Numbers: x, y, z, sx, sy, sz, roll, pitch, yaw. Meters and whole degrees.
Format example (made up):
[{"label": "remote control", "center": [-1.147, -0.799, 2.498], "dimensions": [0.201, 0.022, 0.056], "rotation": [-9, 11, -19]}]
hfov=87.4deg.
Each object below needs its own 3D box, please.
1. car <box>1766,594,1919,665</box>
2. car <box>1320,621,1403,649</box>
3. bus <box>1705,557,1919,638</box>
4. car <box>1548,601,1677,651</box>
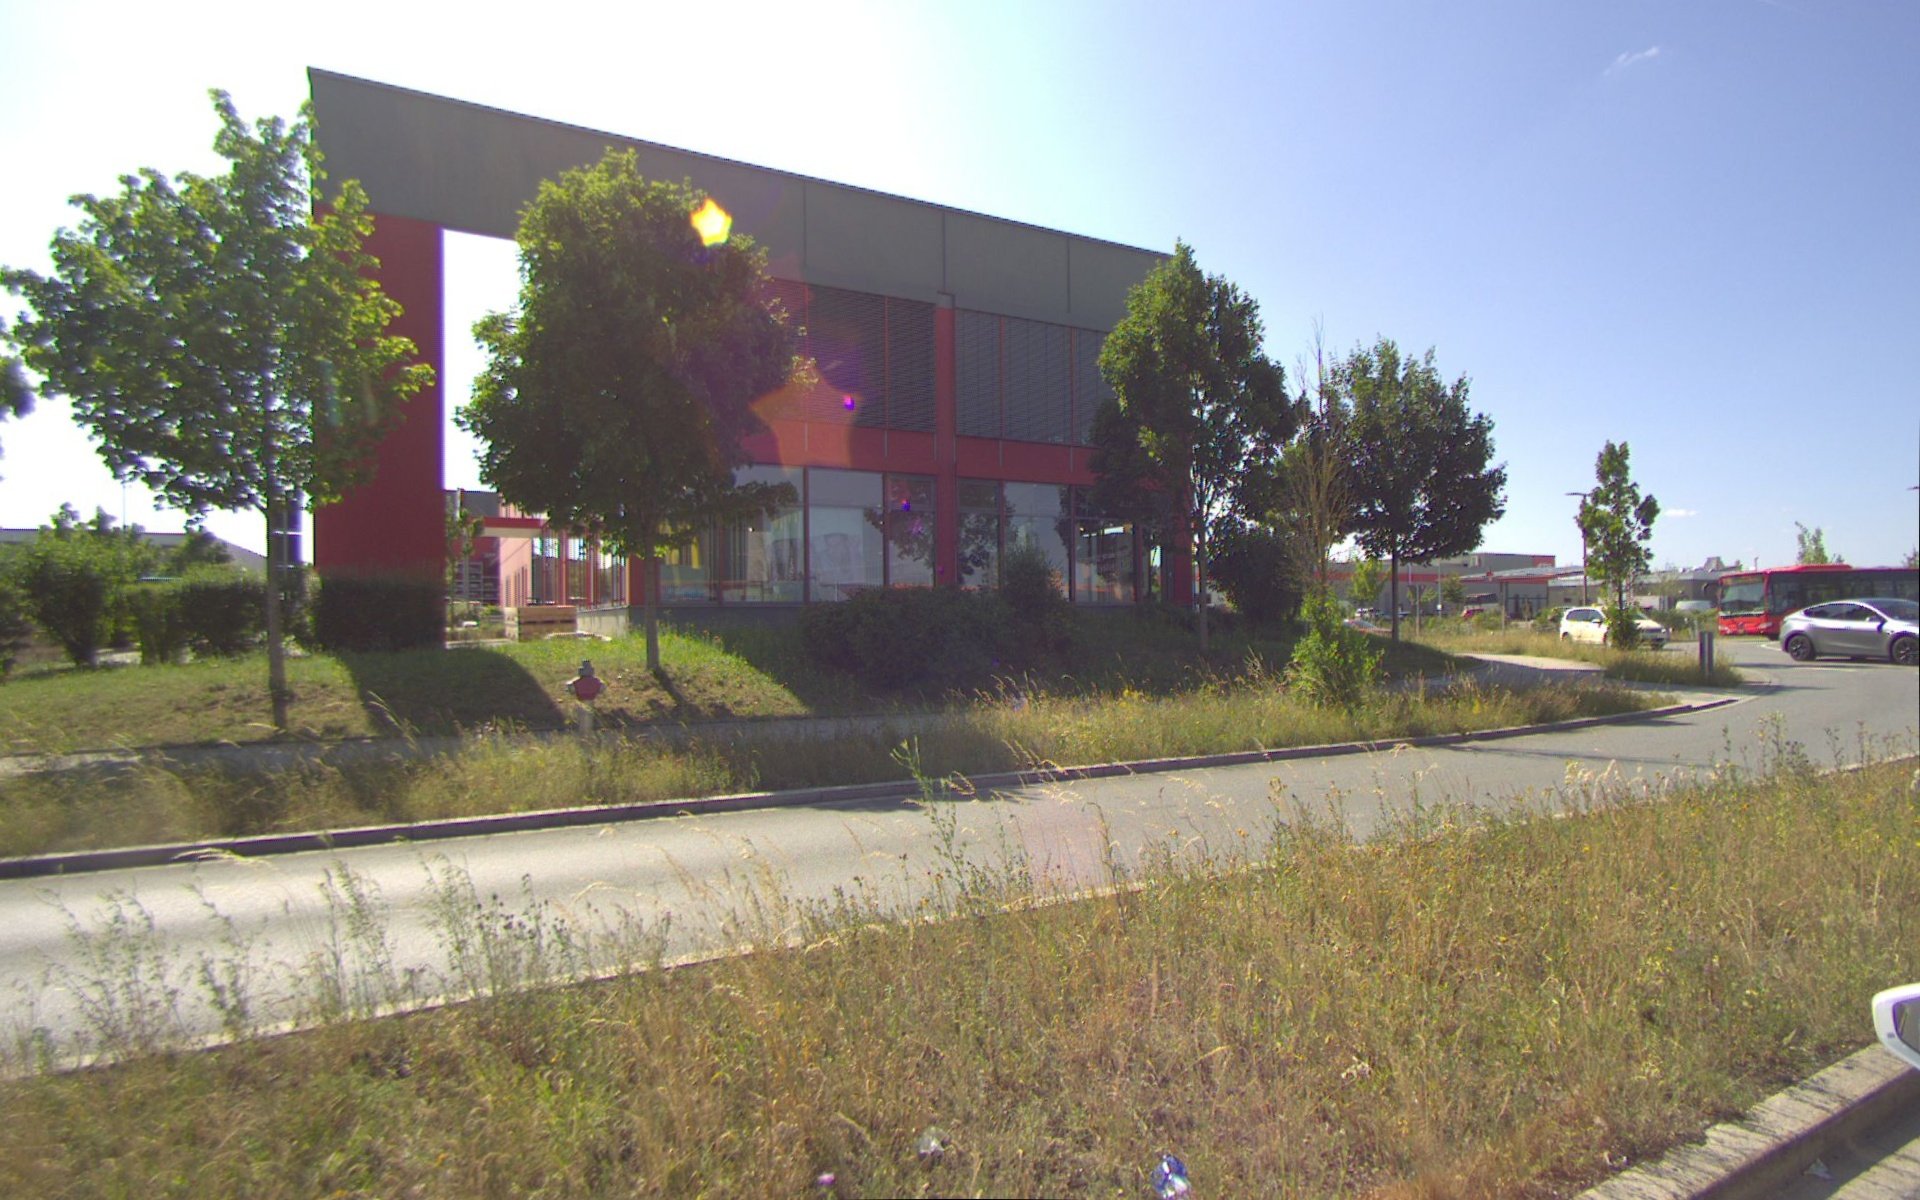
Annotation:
[{"label": "car", "center": [23.552, 0.701, 25.698], "dimensions": [1.926, 1.648, 4.622], "rotation": [-1, 0, -4]}, {"label": "car", "center": [20.939, 1.784, 52.551], "dimensions": [1.553, 1.405, 3.971], "rotation": [0, -1, -28]}, {"label": "bus", "center": [38.939, -0.165, 43.431], "dimensions": [11.973, 3.120, 2.794], "rotation": [-2, -1, -6]}, {"label": "car", "center": [24.177, 0.980, 37.460], "dimensions": [1.810, 1.687, 4.591], "rotation": [-2, -2, 1]}]
